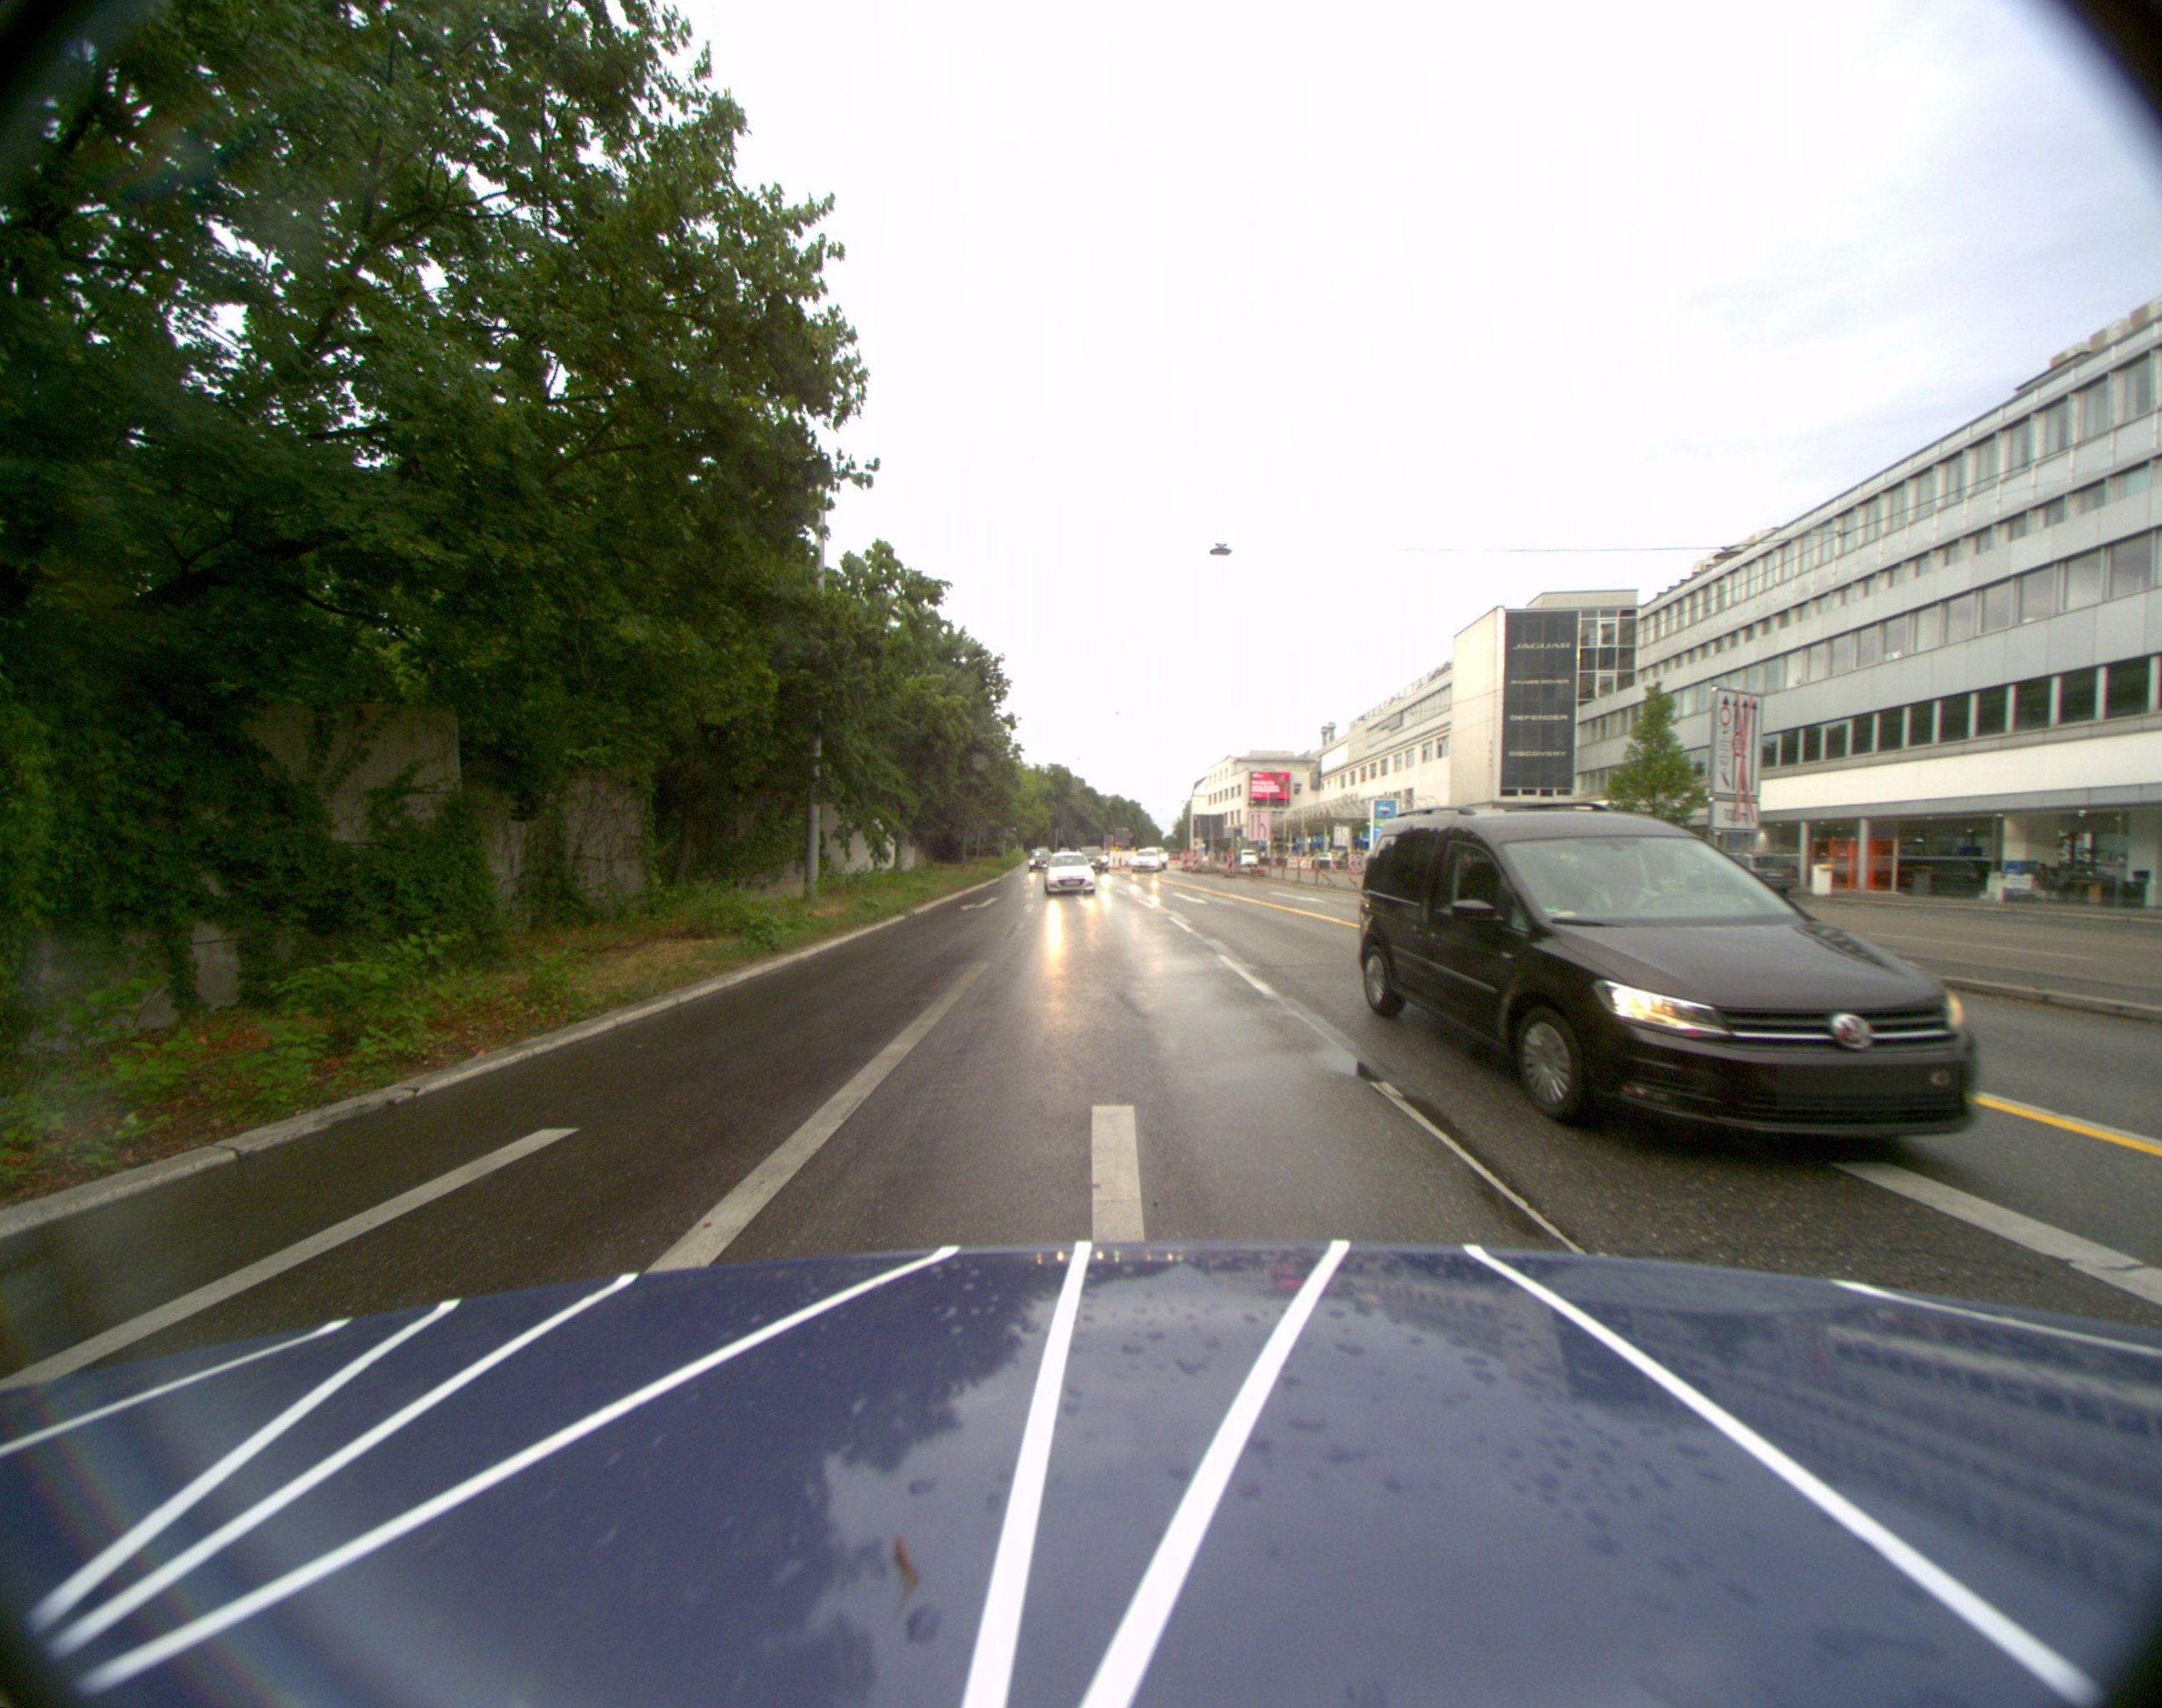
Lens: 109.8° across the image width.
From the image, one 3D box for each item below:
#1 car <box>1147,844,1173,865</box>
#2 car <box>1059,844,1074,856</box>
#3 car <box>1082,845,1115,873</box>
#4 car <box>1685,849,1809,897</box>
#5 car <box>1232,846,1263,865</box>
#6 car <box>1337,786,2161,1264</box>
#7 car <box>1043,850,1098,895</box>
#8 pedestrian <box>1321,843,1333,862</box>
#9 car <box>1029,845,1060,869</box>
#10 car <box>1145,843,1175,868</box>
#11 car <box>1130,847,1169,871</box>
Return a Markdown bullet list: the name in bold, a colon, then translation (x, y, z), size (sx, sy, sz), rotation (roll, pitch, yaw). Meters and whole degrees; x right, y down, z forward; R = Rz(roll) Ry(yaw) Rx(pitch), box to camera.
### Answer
- **car**: translation (6.309, 0.032, 61.229), size (1.771, 1.608, 3.949), rotation (-2, 1, 2)
- **car**: translation (-1.951, -0.613, 106.468), size (1.814, 1.590, 4.333), rotation (-2, 1, 2)
- **car**: translation (1.037, 0.255, 47.584), size (1.814, 1.590, 4.332), rotation (-2, 1, -1)
- **car**: translation (28.312, 0.758, 32.500), size (1.922, 1.805, 4.166), rotation (-2, 1, 6)
- **car**: translation (14.696, 0.122, 67.395), size (1.806, 1.523, 3.764), rotation (3, 0, 0)
- **car**: translation (3.404, 0.644, 5.151), size (1.905, 1.804, 4.430), rotation (-2, 1, 2)
- **car**: translation (-0.302, 0.637, 28.427), size (1.814, 1.444, 4.333), rotation (-2, 1, 2)
- **pedestrian**: translation (23.764, -0.179, 73.424), size (0.895, 1.804, 0.941), rotation (-2, 1, 5)
- **car**: translation (-2.574, 0.177, 54.828), size (1.814, 1.590, 4.333), rotation (-2, 1, 2)
- **car**: translation (5.671, 0.075, 54.952), size (1.771, 1.628, 4.333), rotation (-2, 1, 2)
- **car**: translation (4.504, 0.302, 49.433), size (1.769, 1.407, 4.337), rotation (-2, 1, 14)
